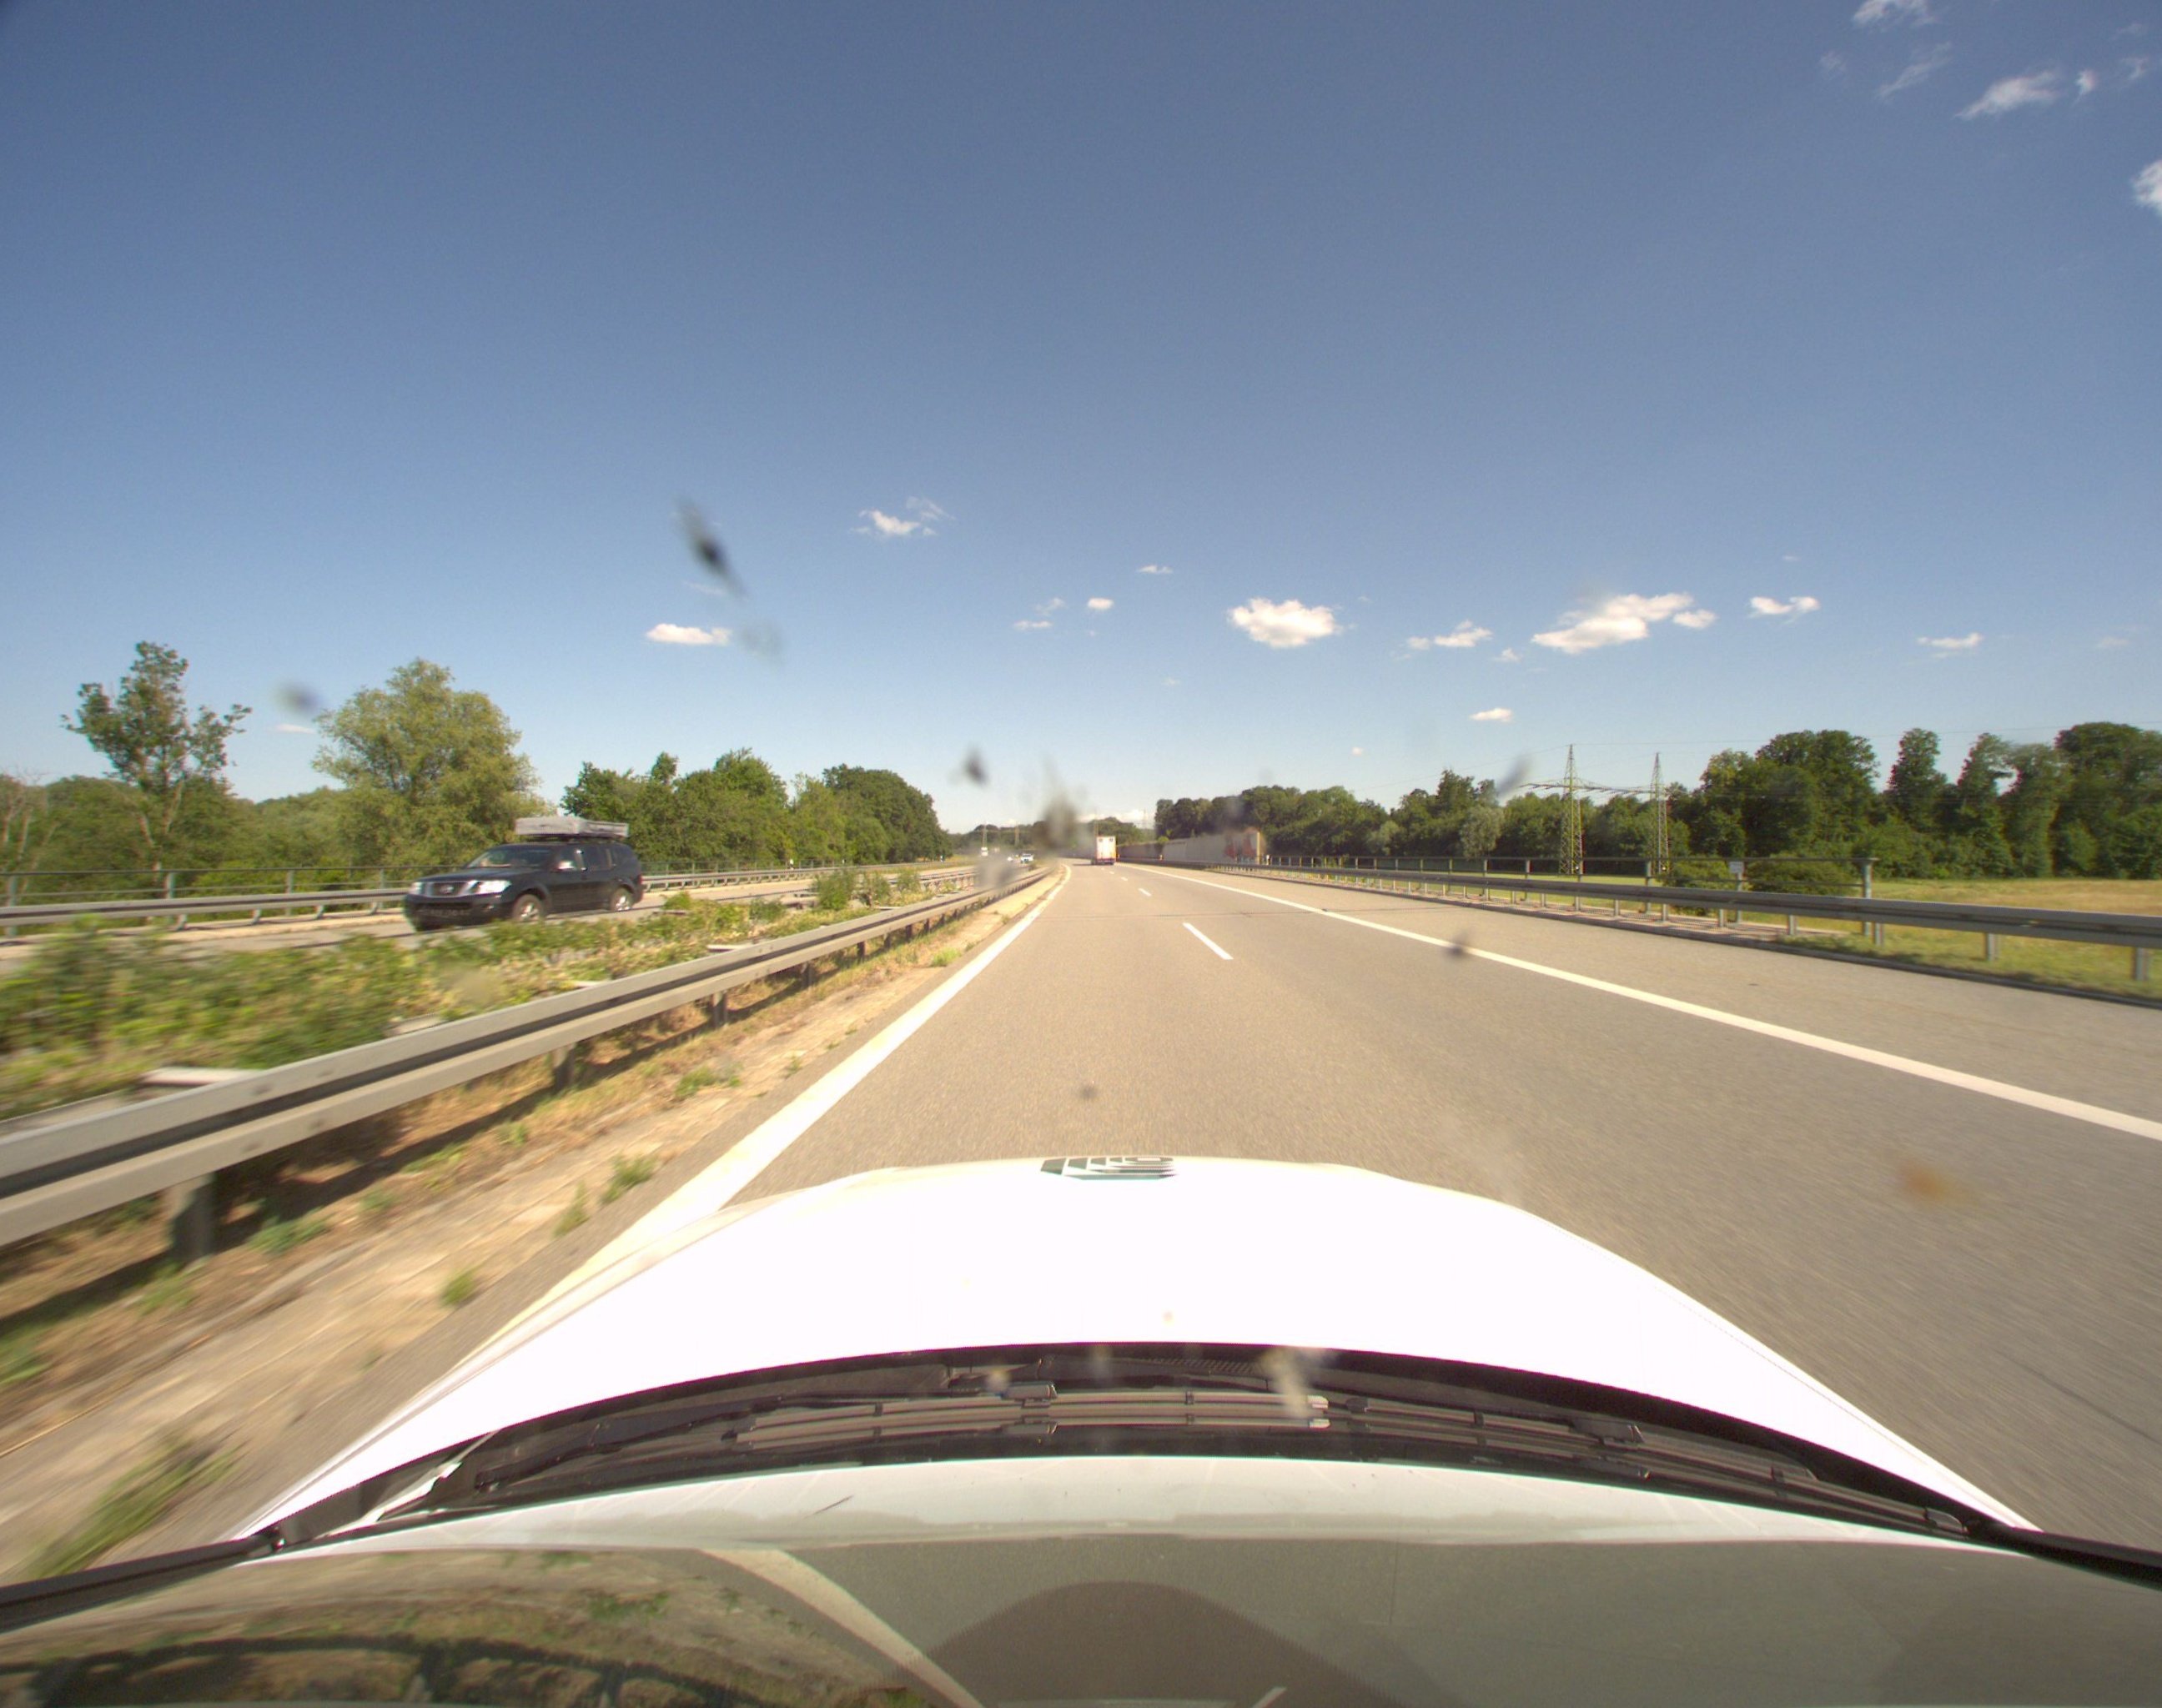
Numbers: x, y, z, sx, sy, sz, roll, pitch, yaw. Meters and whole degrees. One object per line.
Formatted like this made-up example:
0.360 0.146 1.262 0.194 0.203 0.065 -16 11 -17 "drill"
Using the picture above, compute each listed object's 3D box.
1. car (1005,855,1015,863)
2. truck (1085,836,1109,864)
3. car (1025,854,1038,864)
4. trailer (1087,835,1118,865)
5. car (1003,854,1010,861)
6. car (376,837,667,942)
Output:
-12.918 0.898 147.306 1.770 1.470 4.498 0 0 -5 "car"
2.401 -0.621 122.444 2.826 4.012 6.574 -1 0 -6 "truck"
-7.845 0.774 129.674 1.816 1.434 4.646 0 0 -2 "car"
2.951 -0.527 116.109 2.880 4.066 12.395 -1 0 -6 "trailer"
-19.656 0.967 214.847 1.851 1.634 4.483 -2 0 -6 "car"
-10.647 0.590 16.189 1.986 1.679 5.318 -2 0 1 "car"
